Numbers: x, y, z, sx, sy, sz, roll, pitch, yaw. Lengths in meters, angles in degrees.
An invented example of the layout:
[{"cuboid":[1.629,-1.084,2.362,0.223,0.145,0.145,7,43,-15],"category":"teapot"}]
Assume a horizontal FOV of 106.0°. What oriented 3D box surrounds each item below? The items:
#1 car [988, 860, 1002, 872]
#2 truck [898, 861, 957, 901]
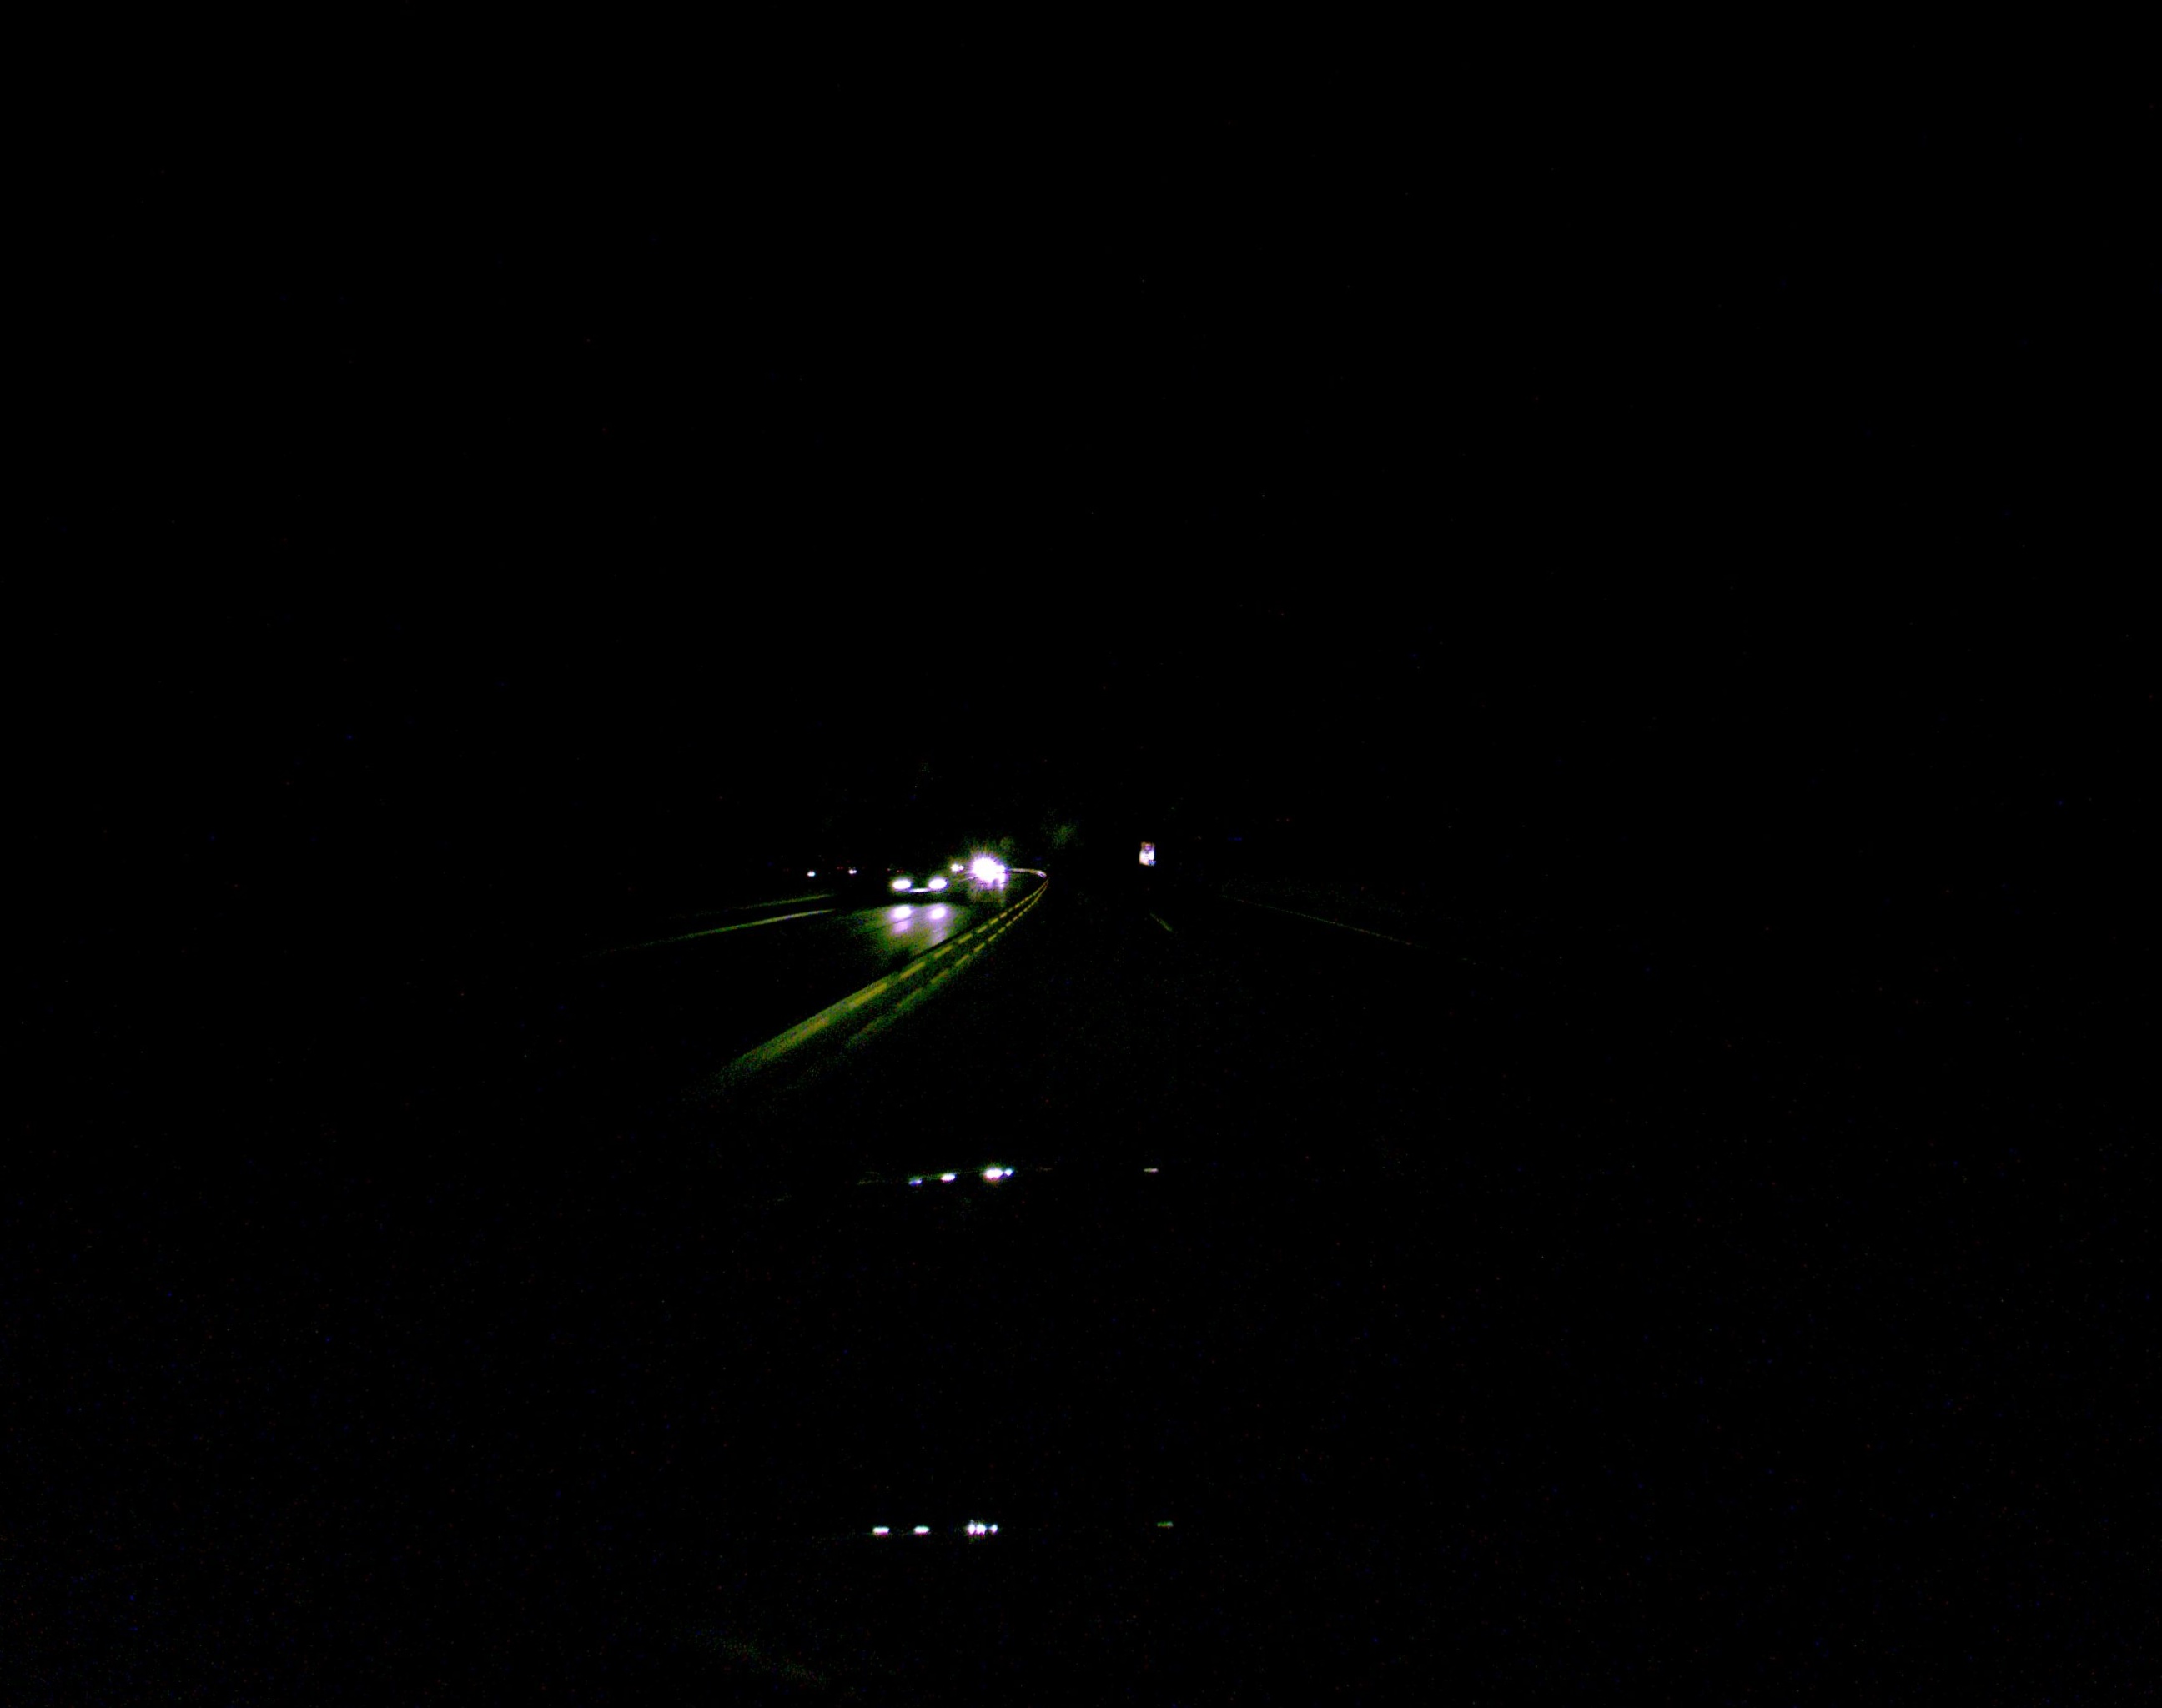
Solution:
[{"cuboid":[-11.376,1.574,107.762,1.710,1.443,4.478,-2,-1,-6],"category":"car"},{"cuboid":[-6.112,1.062,32.874,1.678,1.470,4.150,-1,-1,-2],"category":"truck"}]
